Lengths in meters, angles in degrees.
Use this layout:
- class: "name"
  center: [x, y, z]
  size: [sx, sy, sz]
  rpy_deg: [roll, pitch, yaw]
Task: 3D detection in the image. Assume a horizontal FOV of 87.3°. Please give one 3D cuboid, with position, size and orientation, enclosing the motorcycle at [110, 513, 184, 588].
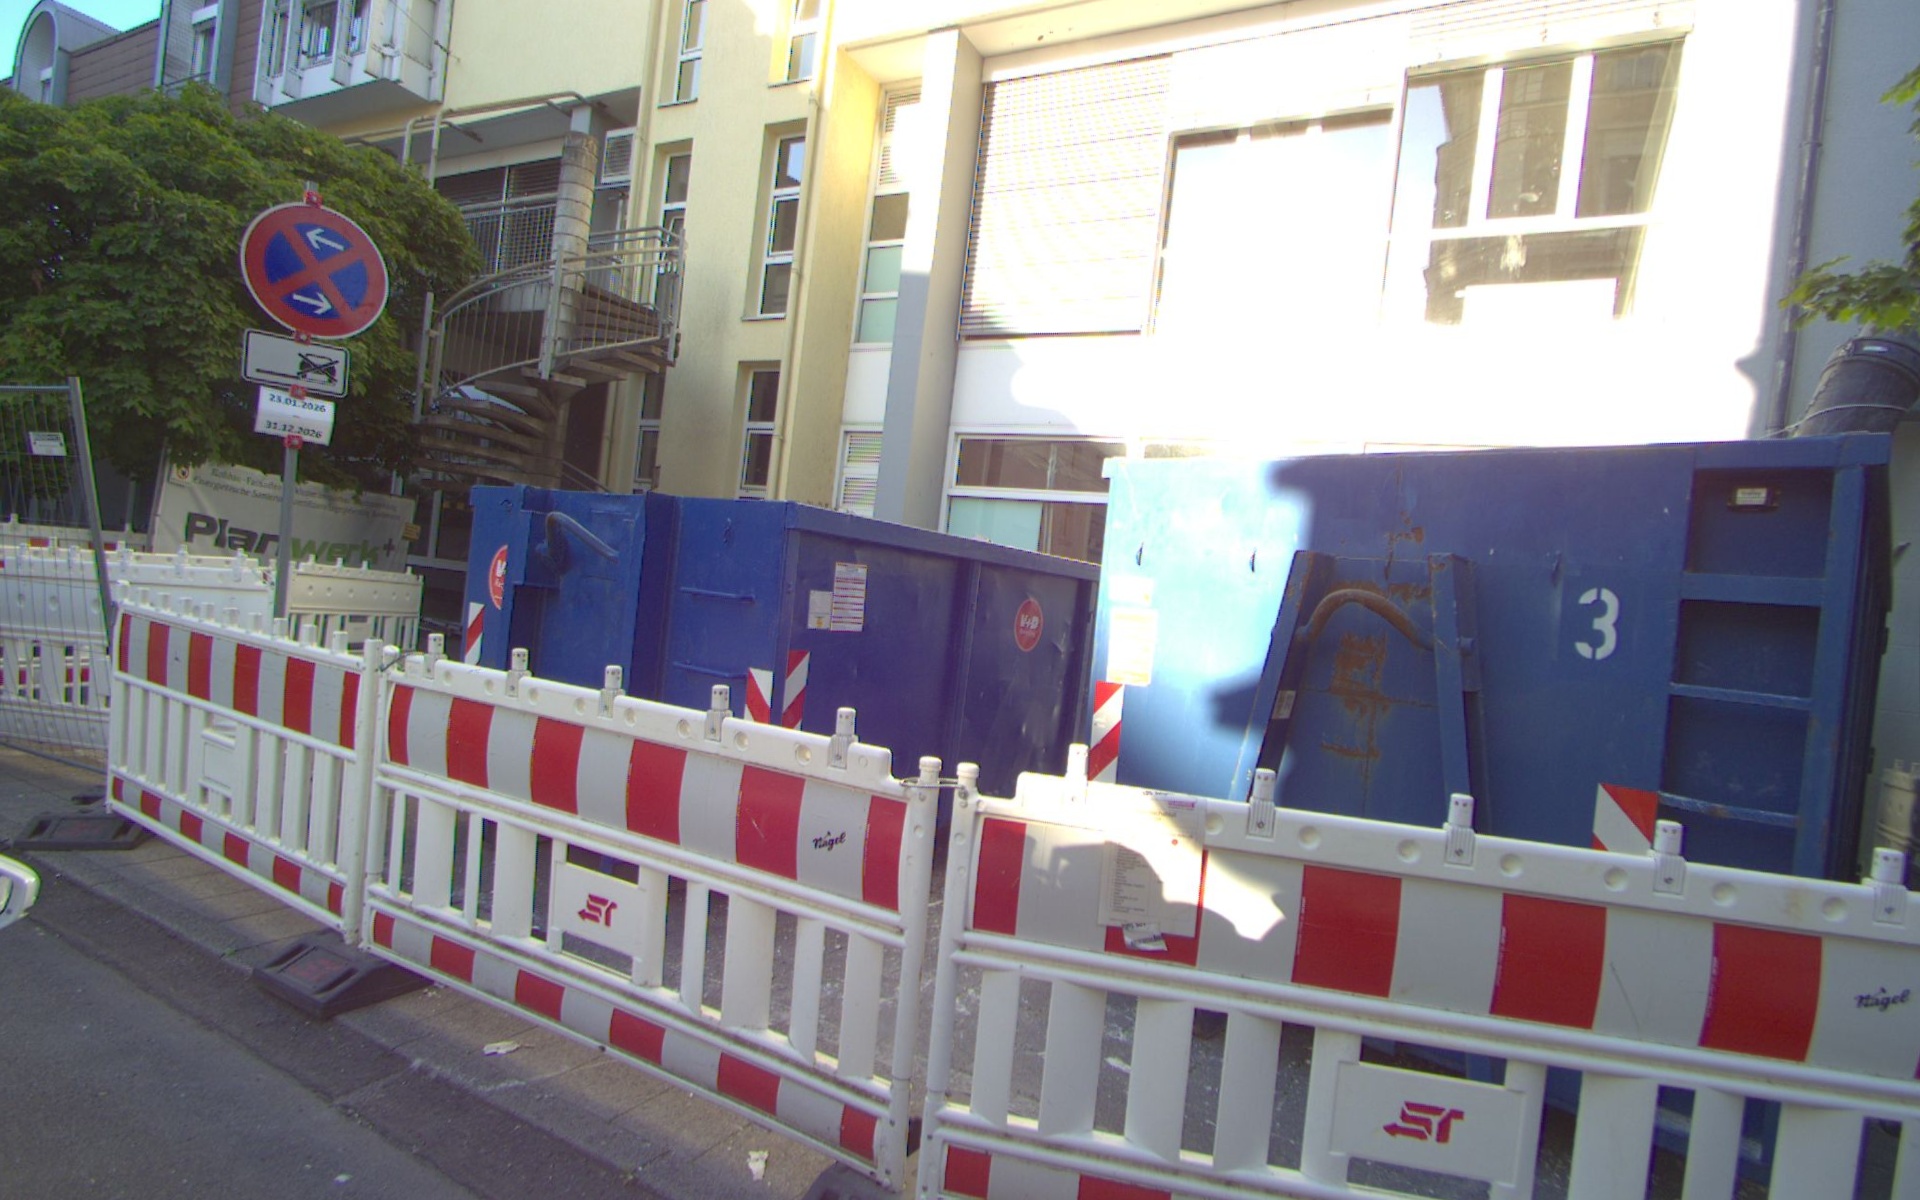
- class: "motorcycle"
  center: [-15.243, -0.950, 18.831]
  size: [0.866, 1.237, 2.428]
  rpy_deg: [6, 0, -43]

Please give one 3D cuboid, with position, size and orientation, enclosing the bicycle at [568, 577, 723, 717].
- class: "bicycle"
  center: [-3.213, 0.507, 10.447]
  size: [0.539, 1.282, 1.652]
  rpy_deg: [7, -2, 18]
